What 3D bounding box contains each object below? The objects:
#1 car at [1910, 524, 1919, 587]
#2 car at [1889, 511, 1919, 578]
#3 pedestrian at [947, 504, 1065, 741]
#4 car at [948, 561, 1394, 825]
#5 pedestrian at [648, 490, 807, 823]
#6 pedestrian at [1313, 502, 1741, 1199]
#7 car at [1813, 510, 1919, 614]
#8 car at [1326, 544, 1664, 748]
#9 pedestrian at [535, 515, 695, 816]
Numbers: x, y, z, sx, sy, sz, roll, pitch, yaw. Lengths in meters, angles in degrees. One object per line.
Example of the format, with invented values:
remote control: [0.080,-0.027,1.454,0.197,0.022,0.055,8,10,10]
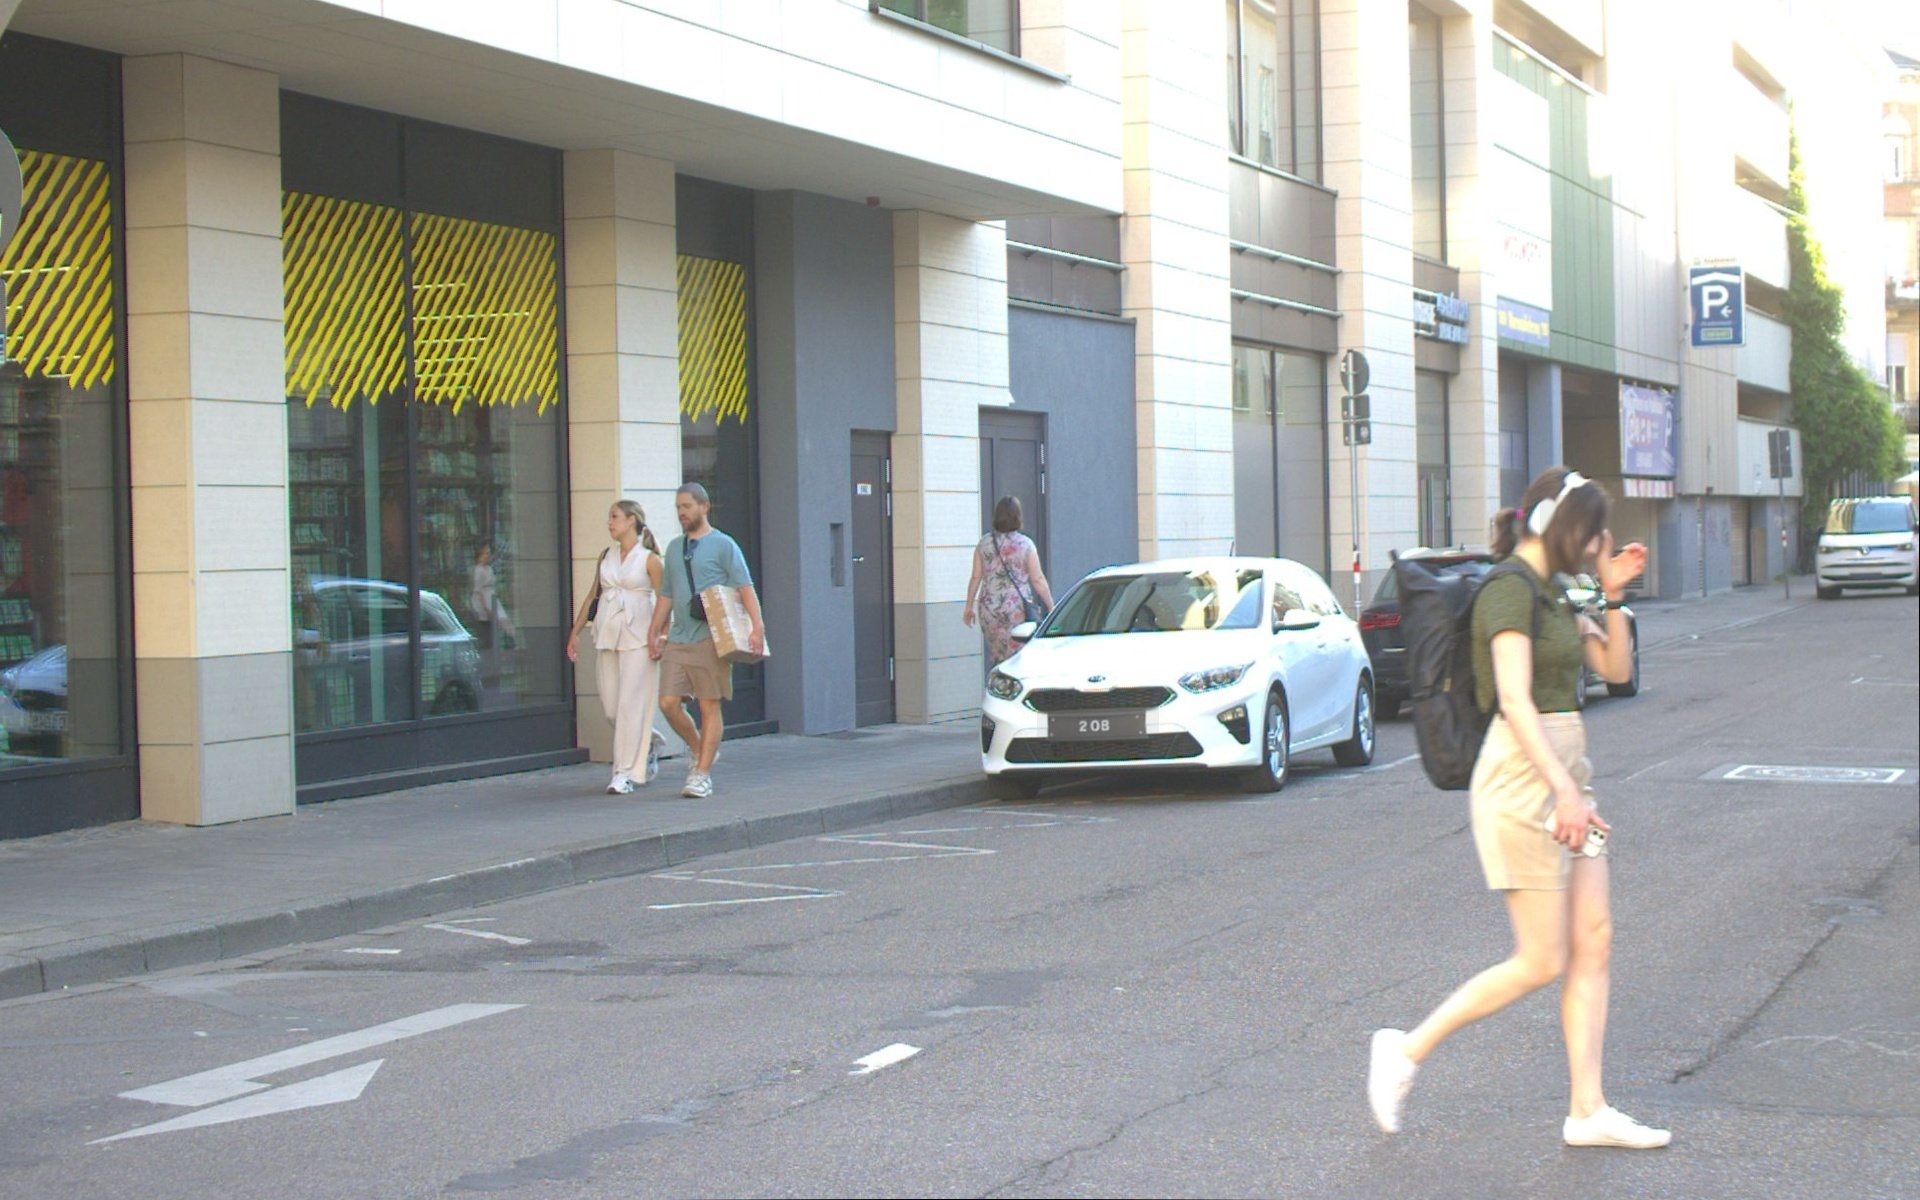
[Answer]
car: [23.557,-1.088,81.296,1.885,1.448,3.997,-1,1,19]
car: [21.891,-1.269,76.927,1.885,1.448,3.997,-1,1,19]
pedestrian: [0.349,0.164,25.636,0.672,1.738,0.647,-1,1,20]
car: [1.458,0.515,21.935,1.779,1.448,4.227,-1,1,19]
pedestrian: [-1.300,0.306,19.269,0.672,1.830,0.647,0,1,18]
pedestrian: [1.425,0.620,8.697,0.635,1.717,0.845,-2,1,-35]
car: [17.600,-0.767,66.180,1.885,1.905,4.744,-1,1,18]
car: [4.792,0.347,30.208,1.885,1.592,4.684,-1,1,22]
pedestrian: [-1.951,0.357,19.488,0.672,1.669,0.647,0,1,18]
